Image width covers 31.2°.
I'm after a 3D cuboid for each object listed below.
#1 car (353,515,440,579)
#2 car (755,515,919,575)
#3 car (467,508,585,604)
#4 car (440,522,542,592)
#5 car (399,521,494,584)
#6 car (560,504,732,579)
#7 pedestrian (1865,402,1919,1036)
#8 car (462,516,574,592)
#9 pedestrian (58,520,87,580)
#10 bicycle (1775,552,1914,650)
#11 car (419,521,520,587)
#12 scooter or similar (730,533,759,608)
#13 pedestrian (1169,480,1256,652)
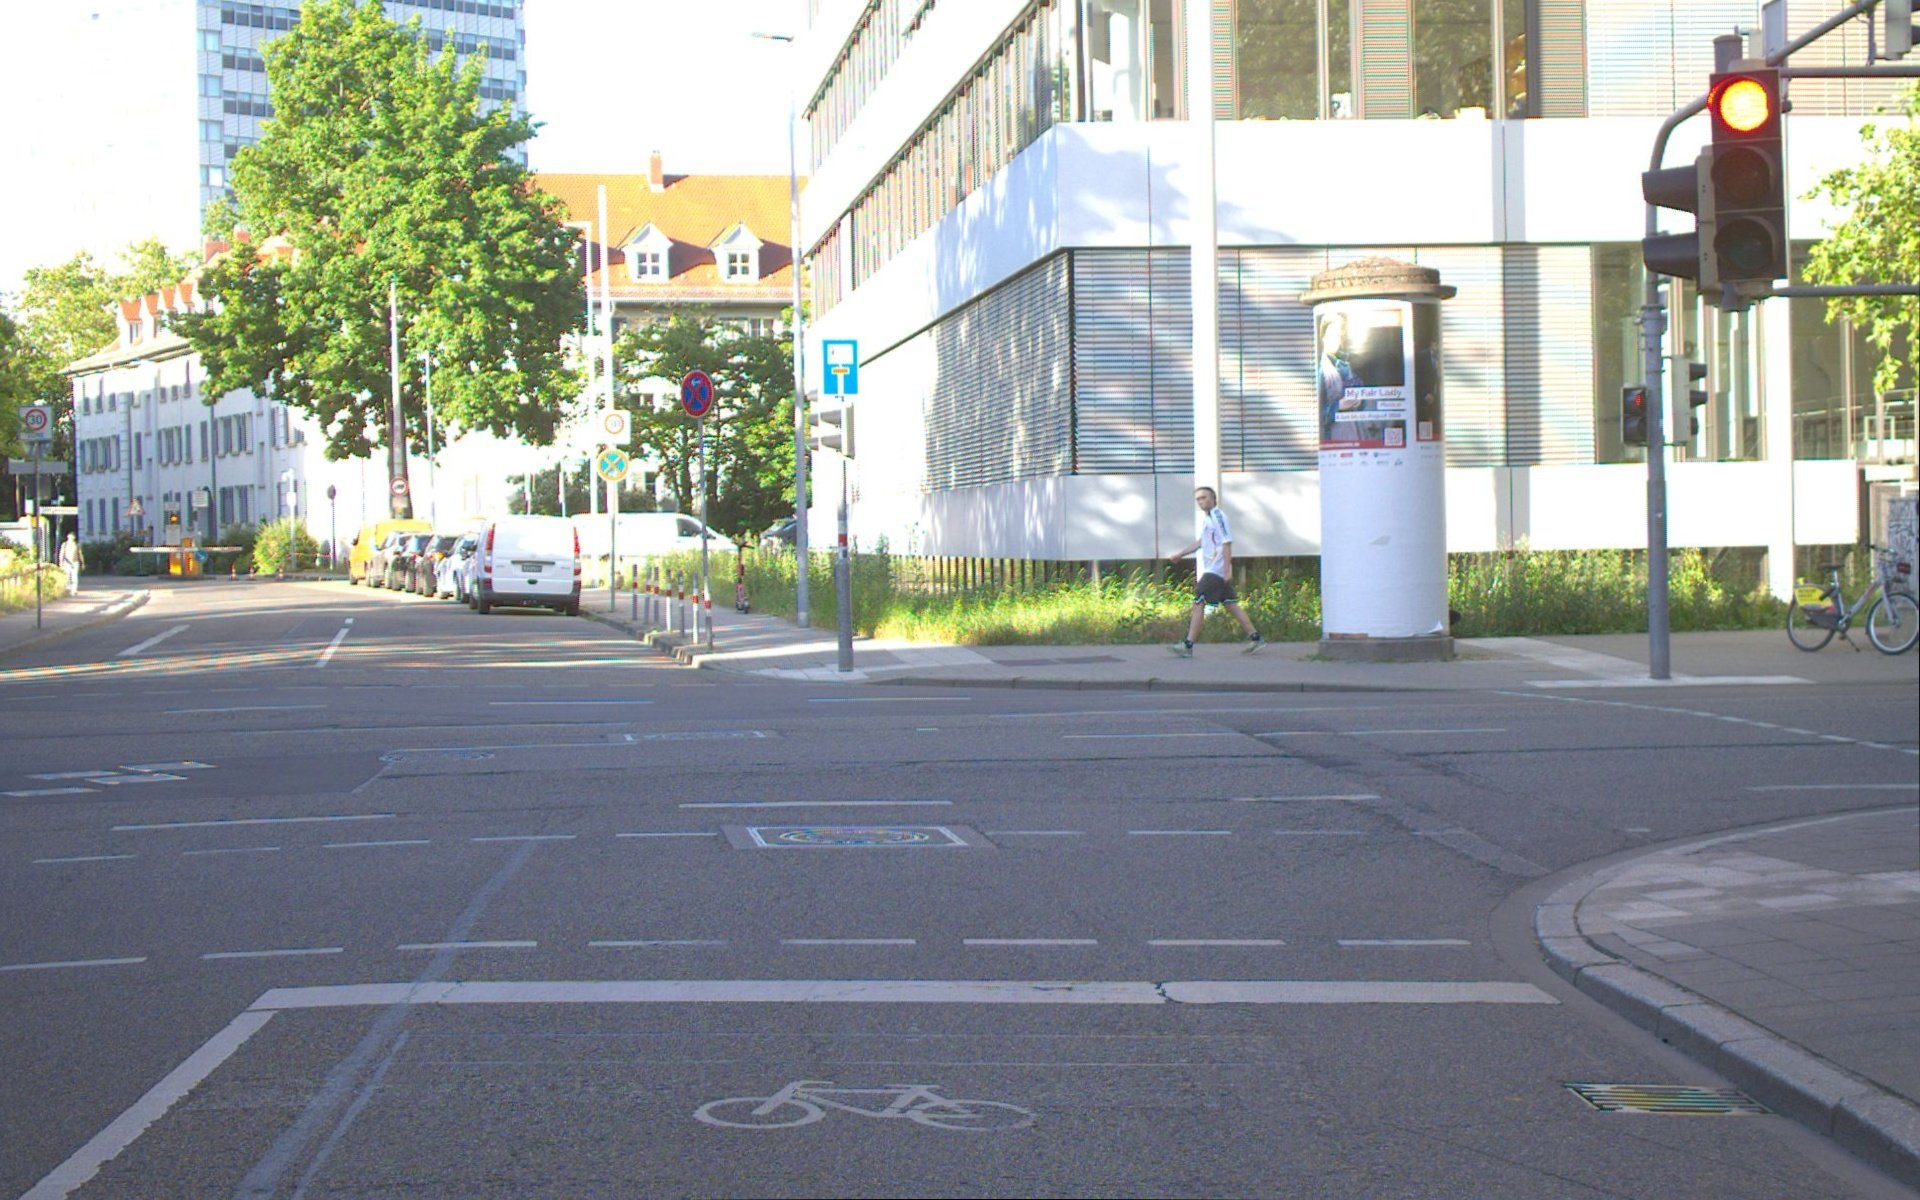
[{"bbox_3d":[-15.735,-1.478,95.836,1.993,1.719,4.653,1,1,-14],"label":"car"},{"bbox_3d":[-3.752,-1.669,104.776,4.635,1.719,2.001,1,1,-16],"label":"car"},{"bbox_3d":[-8.216,-0.833,64.825,1.993,1.719,4.653,1,1,-10],"label":"car"},{"bbox_3d":[-10.501,-0.956,76.810,1.993,1.493,4.653,1,1,-11],"label":"car"},{"bbox_3d":[-12.876,-1.188,85.981,1.993,1.493,4.653,1,1,-13],"label":"car"},{"bbox_3d":[-9.399,-1.737,102.933,4.791,2.151,2.001,1,1,-17],"label":"car"},{"bbox_3d":[3.084,0.339,9.959,0.699,1.804,0.720,1,0,-1],"label":"pedestrian"},{"bbox_3d":[-9.167,-0.953,71.038,1.993,1.493,4.653,1,1,-11],"label":"car"},{"bbox_3d":[-23.505,-1.331,91.042,0.699,1.581,0.637,1,0,-16],"label":"pedestrian"},{"bbox_3d":[9.289,0.006,36.150,0.378,1.005,1.432,-2,2,-42],"label":"bicycle"},{"bbox_3d":[-11.622,-1.082,81.257,1.993,1.493,4.288,1,1,-13],"label":"car"},{"bbox_3d":[-3.655,-0.507,58.294,0.437,1.252,1.420,-1,1,-4],"label":"scooter or similar"},{"bbox_3d":[2.782,-0.373,37.901,0.914,1.862,0.742,1,0,3],"label":"pedestrian"}]
